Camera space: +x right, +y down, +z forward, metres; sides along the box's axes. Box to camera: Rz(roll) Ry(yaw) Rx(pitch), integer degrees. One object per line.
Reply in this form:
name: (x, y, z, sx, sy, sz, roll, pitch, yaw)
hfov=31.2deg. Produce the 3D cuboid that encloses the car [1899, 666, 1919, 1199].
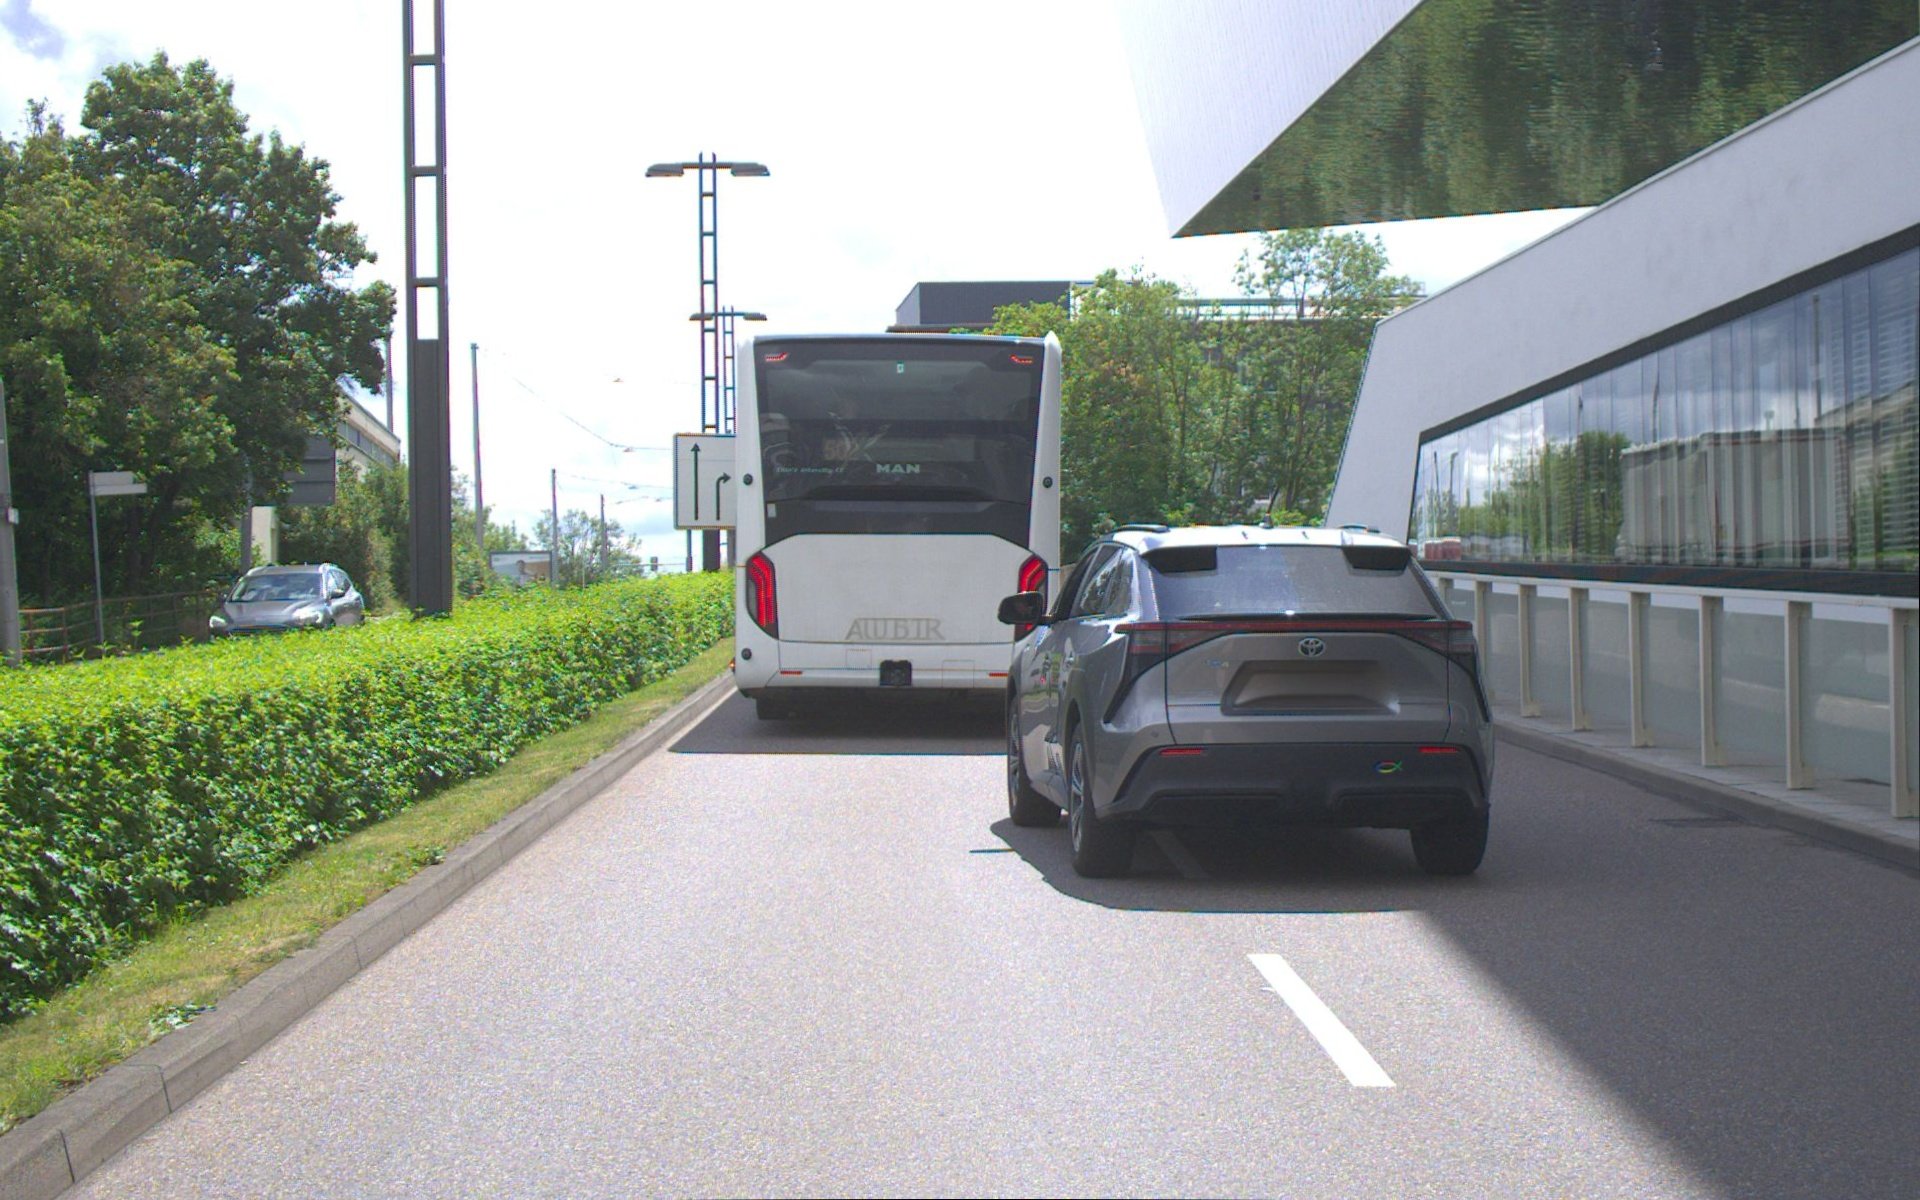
car: (2.753, 0.787, 4.745, 1.719, 1.271, 4.088, 0, 1, -1)

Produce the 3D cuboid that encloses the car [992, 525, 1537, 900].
car: (1.325, 0.464, 16.759, 1.879, 1.588, 4.230, 0, 0, -6)

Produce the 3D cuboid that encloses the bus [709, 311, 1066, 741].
bus: (-0.618, -0.738, 32.217, 2.689, 3.244, 12.058, 1, 2, -1)

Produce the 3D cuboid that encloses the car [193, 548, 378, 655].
car: (-10.204, -0.012, 52.344, 1.840, 1.502, 4.561, -2, 1, 1)
